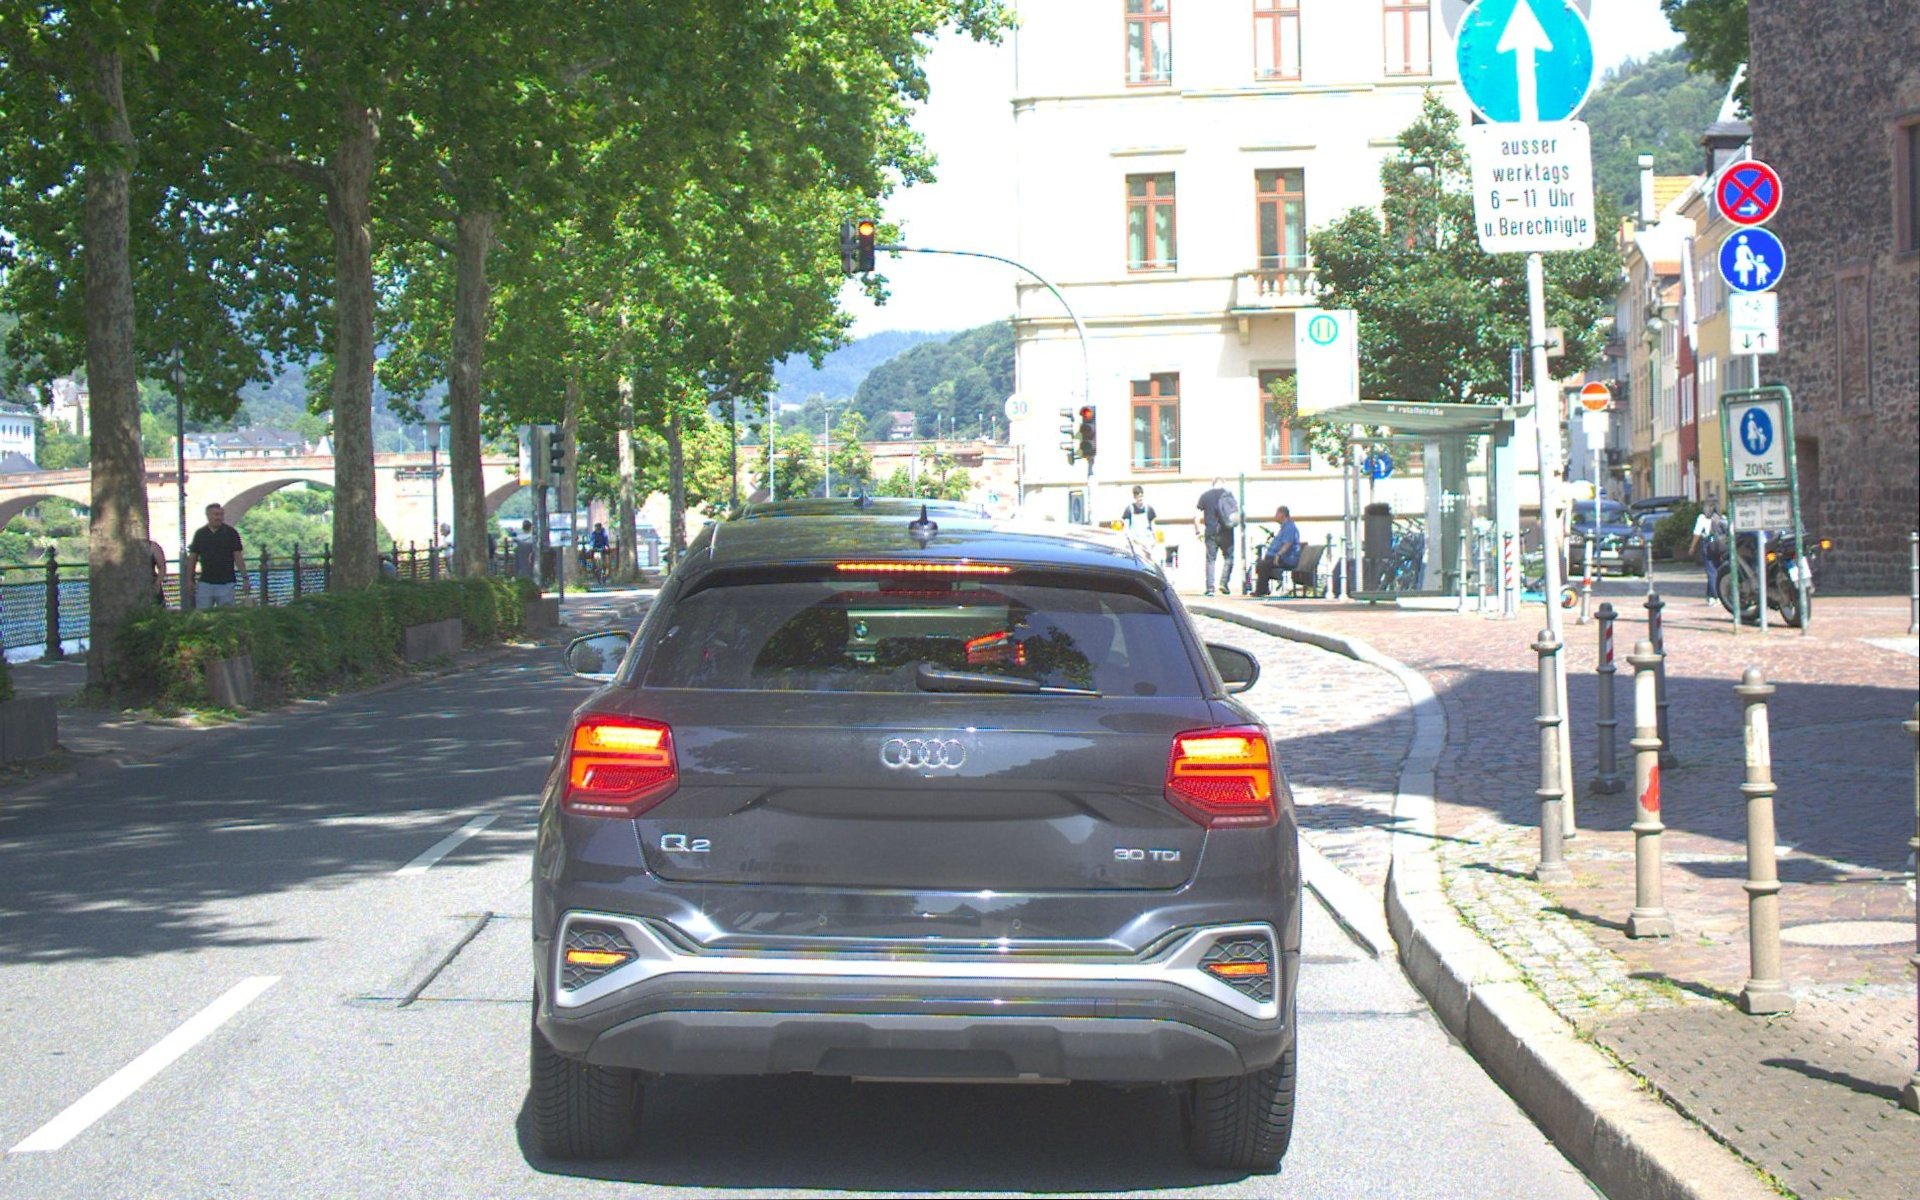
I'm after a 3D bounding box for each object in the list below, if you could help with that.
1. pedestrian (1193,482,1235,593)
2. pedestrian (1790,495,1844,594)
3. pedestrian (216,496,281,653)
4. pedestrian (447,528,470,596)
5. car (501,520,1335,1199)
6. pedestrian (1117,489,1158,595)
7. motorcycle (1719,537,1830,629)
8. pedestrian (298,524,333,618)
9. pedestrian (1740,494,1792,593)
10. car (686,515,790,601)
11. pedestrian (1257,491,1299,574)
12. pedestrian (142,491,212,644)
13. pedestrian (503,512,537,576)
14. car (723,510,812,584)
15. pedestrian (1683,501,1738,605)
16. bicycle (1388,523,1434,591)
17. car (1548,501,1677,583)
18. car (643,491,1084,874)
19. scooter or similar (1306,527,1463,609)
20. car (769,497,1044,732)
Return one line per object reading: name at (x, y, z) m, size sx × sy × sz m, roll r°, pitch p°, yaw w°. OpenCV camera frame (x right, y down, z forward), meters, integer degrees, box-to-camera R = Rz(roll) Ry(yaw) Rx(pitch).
pedestrian at (3.747, -0.922, 50.718) m, size 0.557 × 1.627 × 0.660 m, roll 1°, pitch 1°, yaw 1°
pedestrian at (13.308, -0.864, 53.408) m, size 0.658 × 1.512 × 0.627 m, roll 1°, pitch 1°, yaw 1°
pedestrian at (-8.011, -0.292, 38.721) m, size 0.563 × 1.735 × 0.665 m, roll -2°, pitch 1°, yaw -3°
pedestrian at (-10.586, -0.812, 72.611) m, size 0.409 × 1.420 × 0.457 m, roll 1°, pitch 1°, yaw -2°
car at (-0.141, 0.548, 9.104) m, size 1.748 × 1.489 × 3.629 m, roll 1°, pitch 1°, yaw -2°
pedestrian at (2.642, -0.860, 51.163) m, size 0.557 × 1.552 × 0.660 m, roll 1°, pitch 1°, yaw 1°
motorcycle at (7.718, -0.178, 32.651) m, size 0.483 × 0.815 × 2.280 m, roll -2°, pitch 1°, yaw 0°
pedestrian at (-10.656, -0.486, 56.883) m, size 0.497 × 1.532 × 0.680 m, roll 1°, pitch 1°, yaw -7°
pedestrian at (12.527, -0.882, 53.442) m, size 0.658 × 1.512 × 0.548 m, roll 1°, pitch 1°, yaw 1°
car at (-4.170, -0.817, 64.984) m, size 1.615 × 1.518 × 3.476 m, roll -2°, pitch 1°, yaw 1°
pedestrian at (4.684, -0.995, 50.659) m, size 0.546 × 1.197 × 0.522 m, roll 1°, pitch 1°, yaw 1°
pedestrian at (-8.790, -0.369, 38.608) m, size 0.645 × 1.711 × 0.665 m, roll 0°, pitch 1°, yaw -3°
pedestrian at (-8.882, -1.136, 69.401) m, size 0.591 × 1.274 × 0.525 m, roll 1°, pitch 1°, yaw 0°
car at (-4.098, -1.132, 73.704) m, size 1.615 × 1.518 × 3.476 m, roll 1°, pitch 1°, yaw 1°
pedestrian at (10.905, -0.678, 49.962) m, size 0.658 × 1.488 × 0.548 m, roll 1°, pitch 1°, yaw 1°
bicycle at (6.581, -0.628, 50.192) m, size 0.450 × 0.971 × 1.400 m, roll 1°, pitch 1°, yaw 0°
car at (14.204, -1.268, 75.052) m, size 1.993 × 1.710 × 4.000 m, roll 1°, pitch 1°, yaw 0°
car at (-0.407, 0.310, 16.153) m, size 1.801 × 1.557 × 3.716 m, roll 1°, pitch 1°, yaw 0°
scooter or similar at (5.207, -0.397, 42.207) m, size 1.845 × 0.960 × 0.429 m, roll 1°, pitch 1°, yaw -1°
car at (-0.366, 0.055, 24.955) m, size 1.801 × 1.518 × 3.716 m, roll -2°, pitch 1°, yaw 0°
